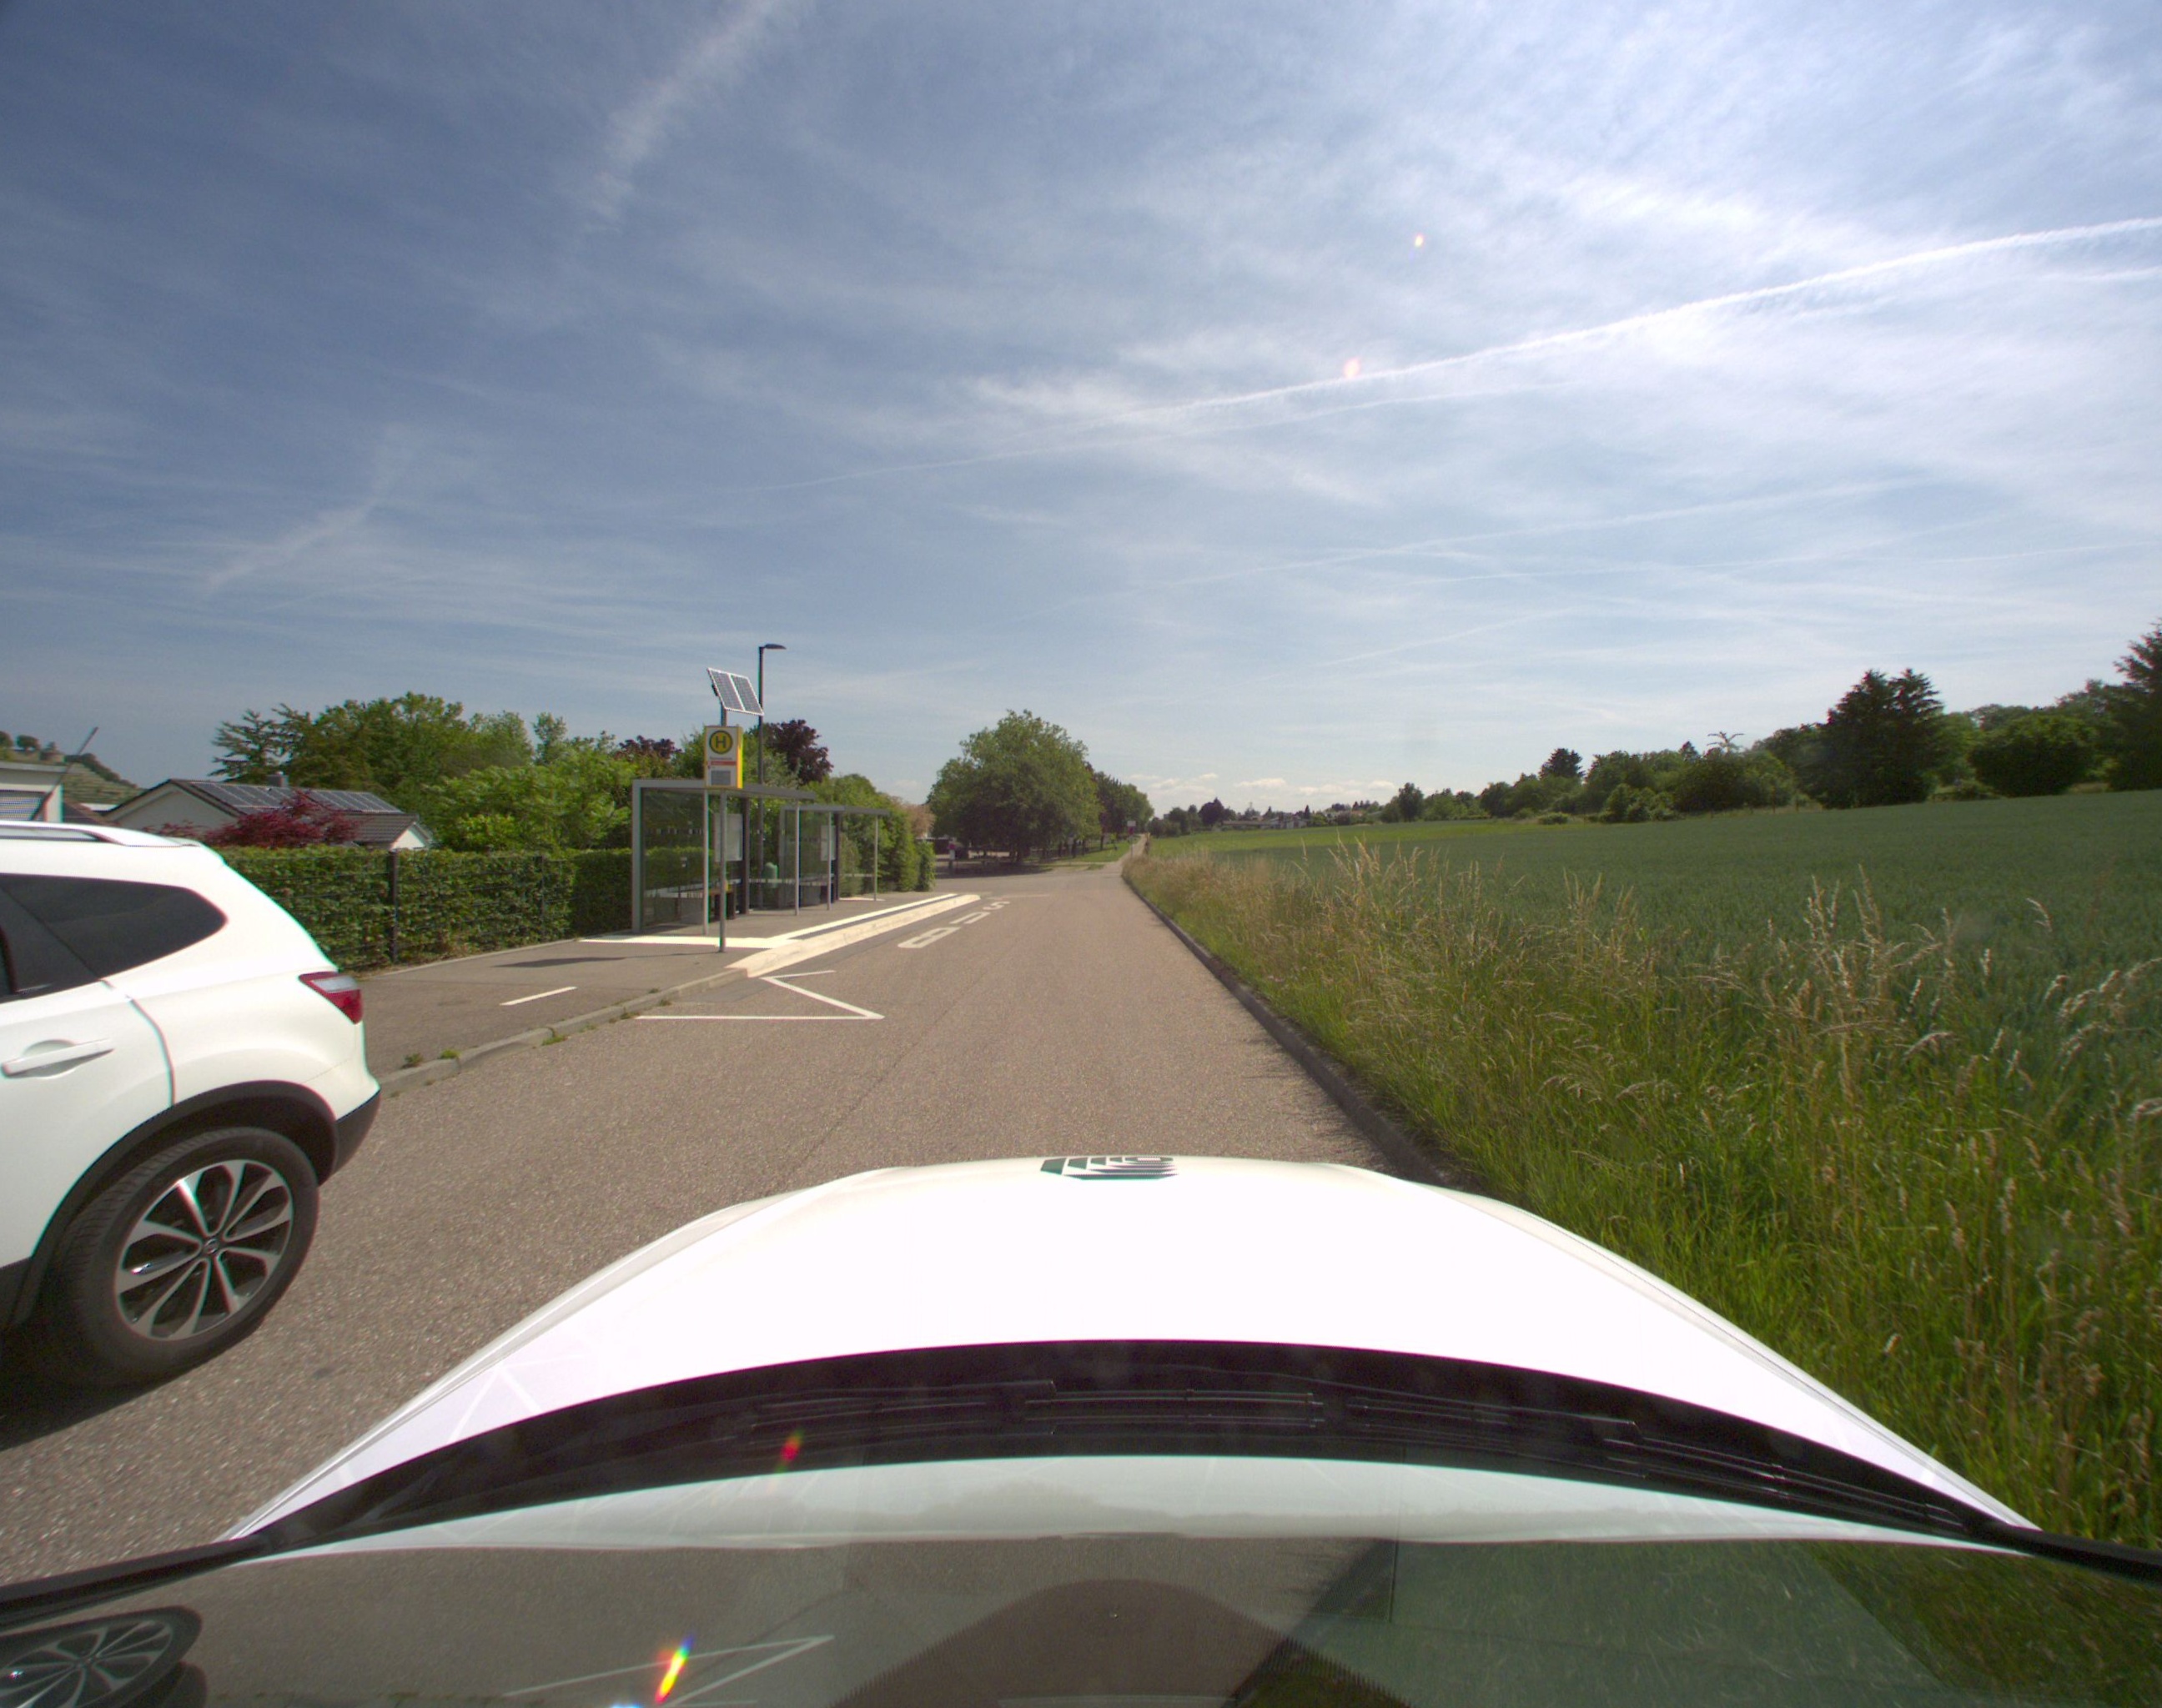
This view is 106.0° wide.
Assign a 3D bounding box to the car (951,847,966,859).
[{"bbox_3d":[-19.828,-0.147,131.933,1.684,1.834,3.413,-1,1,2],"label":"car"}]

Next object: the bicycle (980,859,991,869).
[{"bbox_3d":[-10.822,1.095,92.394,0.591,1.039,1.899,-2,1,12],"label":"bicycle"}]

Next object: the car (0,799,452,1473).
[{"bbox_3d":[-3.495,0.691,1.188,1.728,1.633,4.352,-1,0,1],"label":"car"}]
